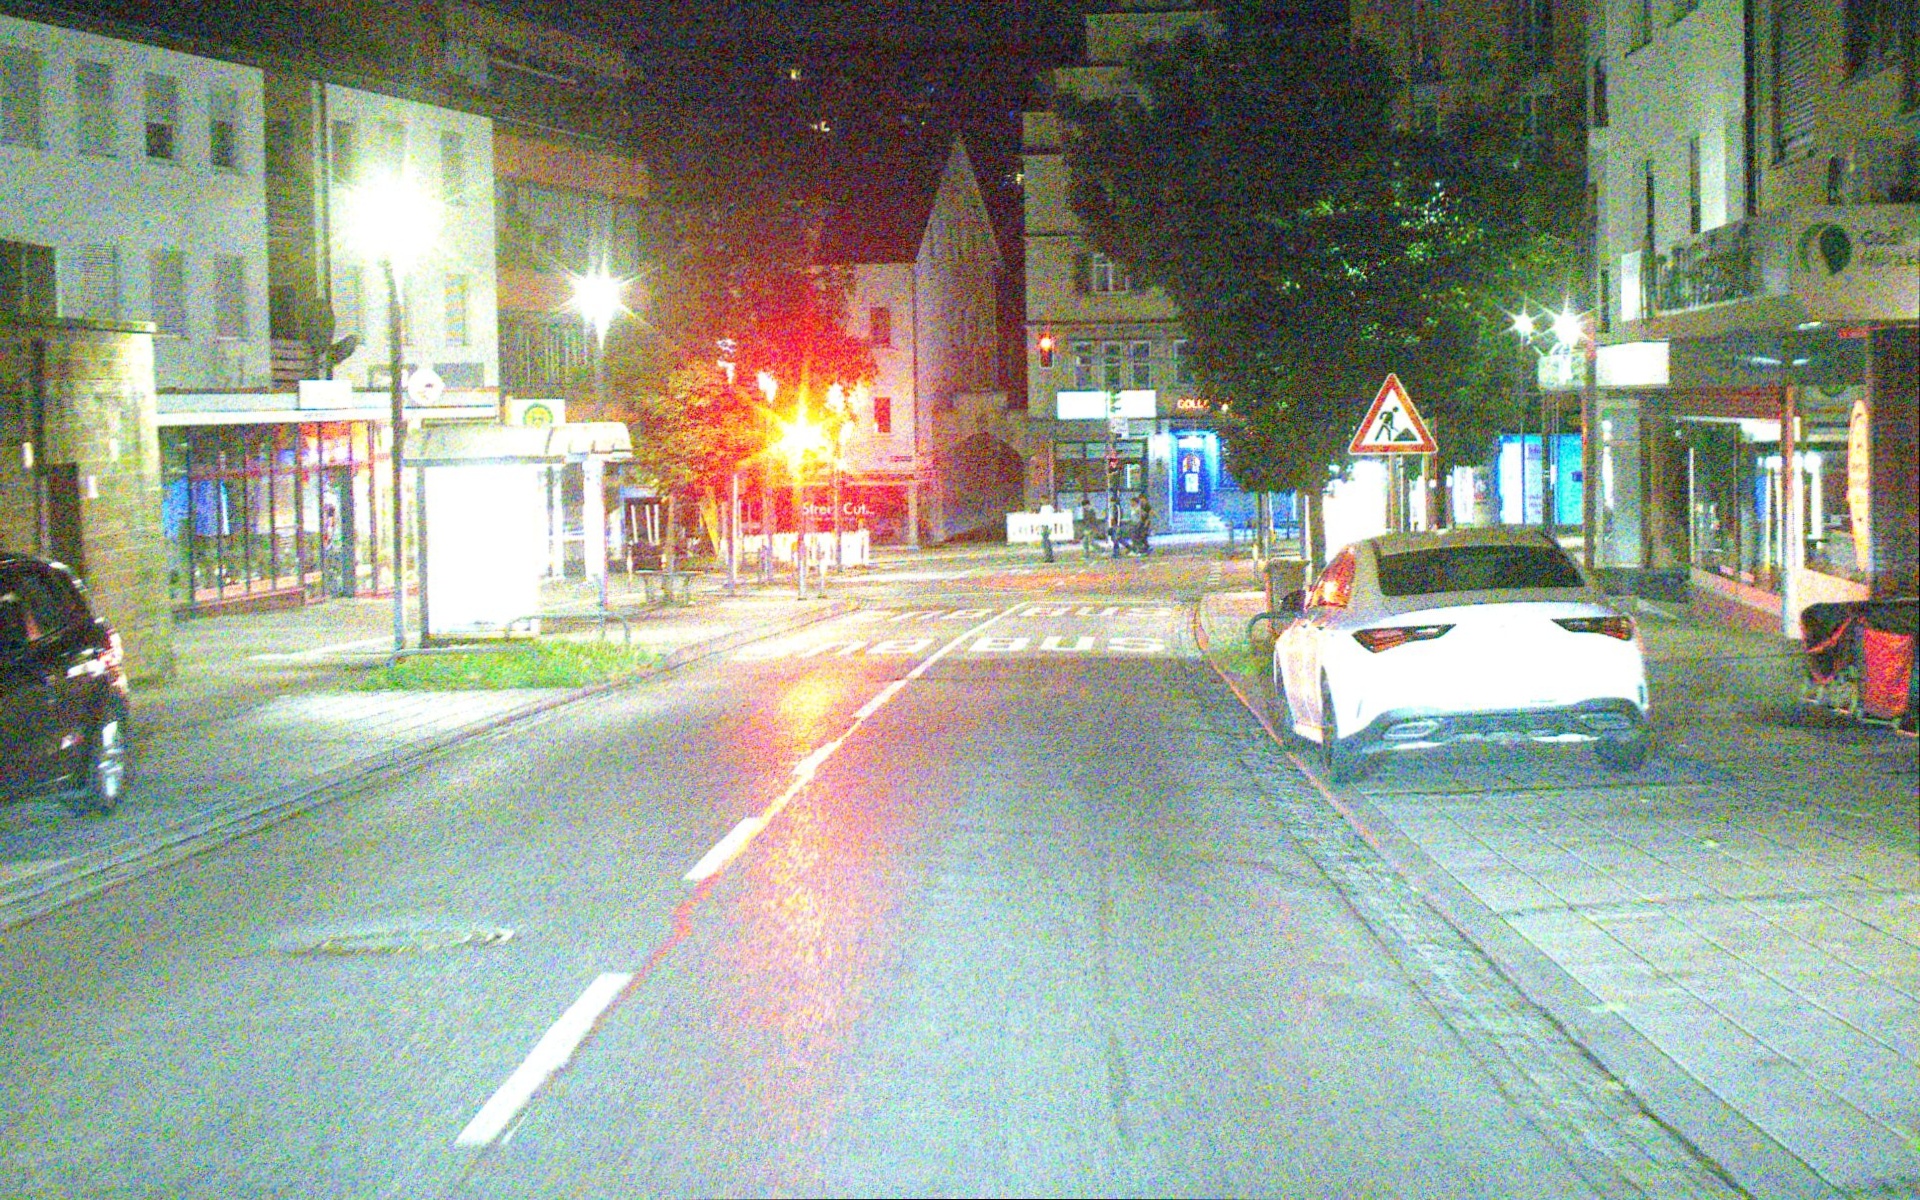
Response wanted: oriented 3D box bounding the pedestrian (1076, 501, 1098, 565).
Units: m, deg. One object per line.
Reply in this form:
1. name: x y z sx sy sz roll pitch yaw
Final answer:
1. pedestrian: 3.600 -1.897 97.355 0.567 1.789 0.718 0 0 -2

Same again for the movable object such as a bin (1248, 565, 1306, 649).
1. movable object such as a bin: 3.546 0.081 38.535 0.524 0.934 0.629 0 0 -7

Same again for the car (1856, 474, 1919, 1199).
1. car: 2.760 0.573 4.849 1.787 1.636 4.380 -2 1 0

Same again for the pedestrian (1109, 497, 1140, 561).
1. pedestrian: 4.645 -2.010 97.087 0.567 1.789 0.718 0 0 -28

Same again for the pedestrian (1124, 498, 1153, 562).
1. pedestrian: 5.020 -1.964 96.518 0.735 1.789 0.718 0 0 8

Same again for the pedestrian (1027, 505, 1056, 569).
1. pedestrian: 2.268 -1.761 96.056 0.716 1.789 0.569 0 0 12

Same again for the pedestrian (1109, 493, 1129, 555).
1. pedestrian: 4.588 -2.190 99.399 0.567 1.789 0.718 0 0 2

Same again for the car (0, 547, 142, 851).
1. car: -5.435 0.467 16.913 1.692 1.432 4.128 1 1 2

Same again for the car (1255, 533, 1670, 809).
1. car: 2.932 0.350 21.021 1.857 1.437 4.594 -2 1 1
